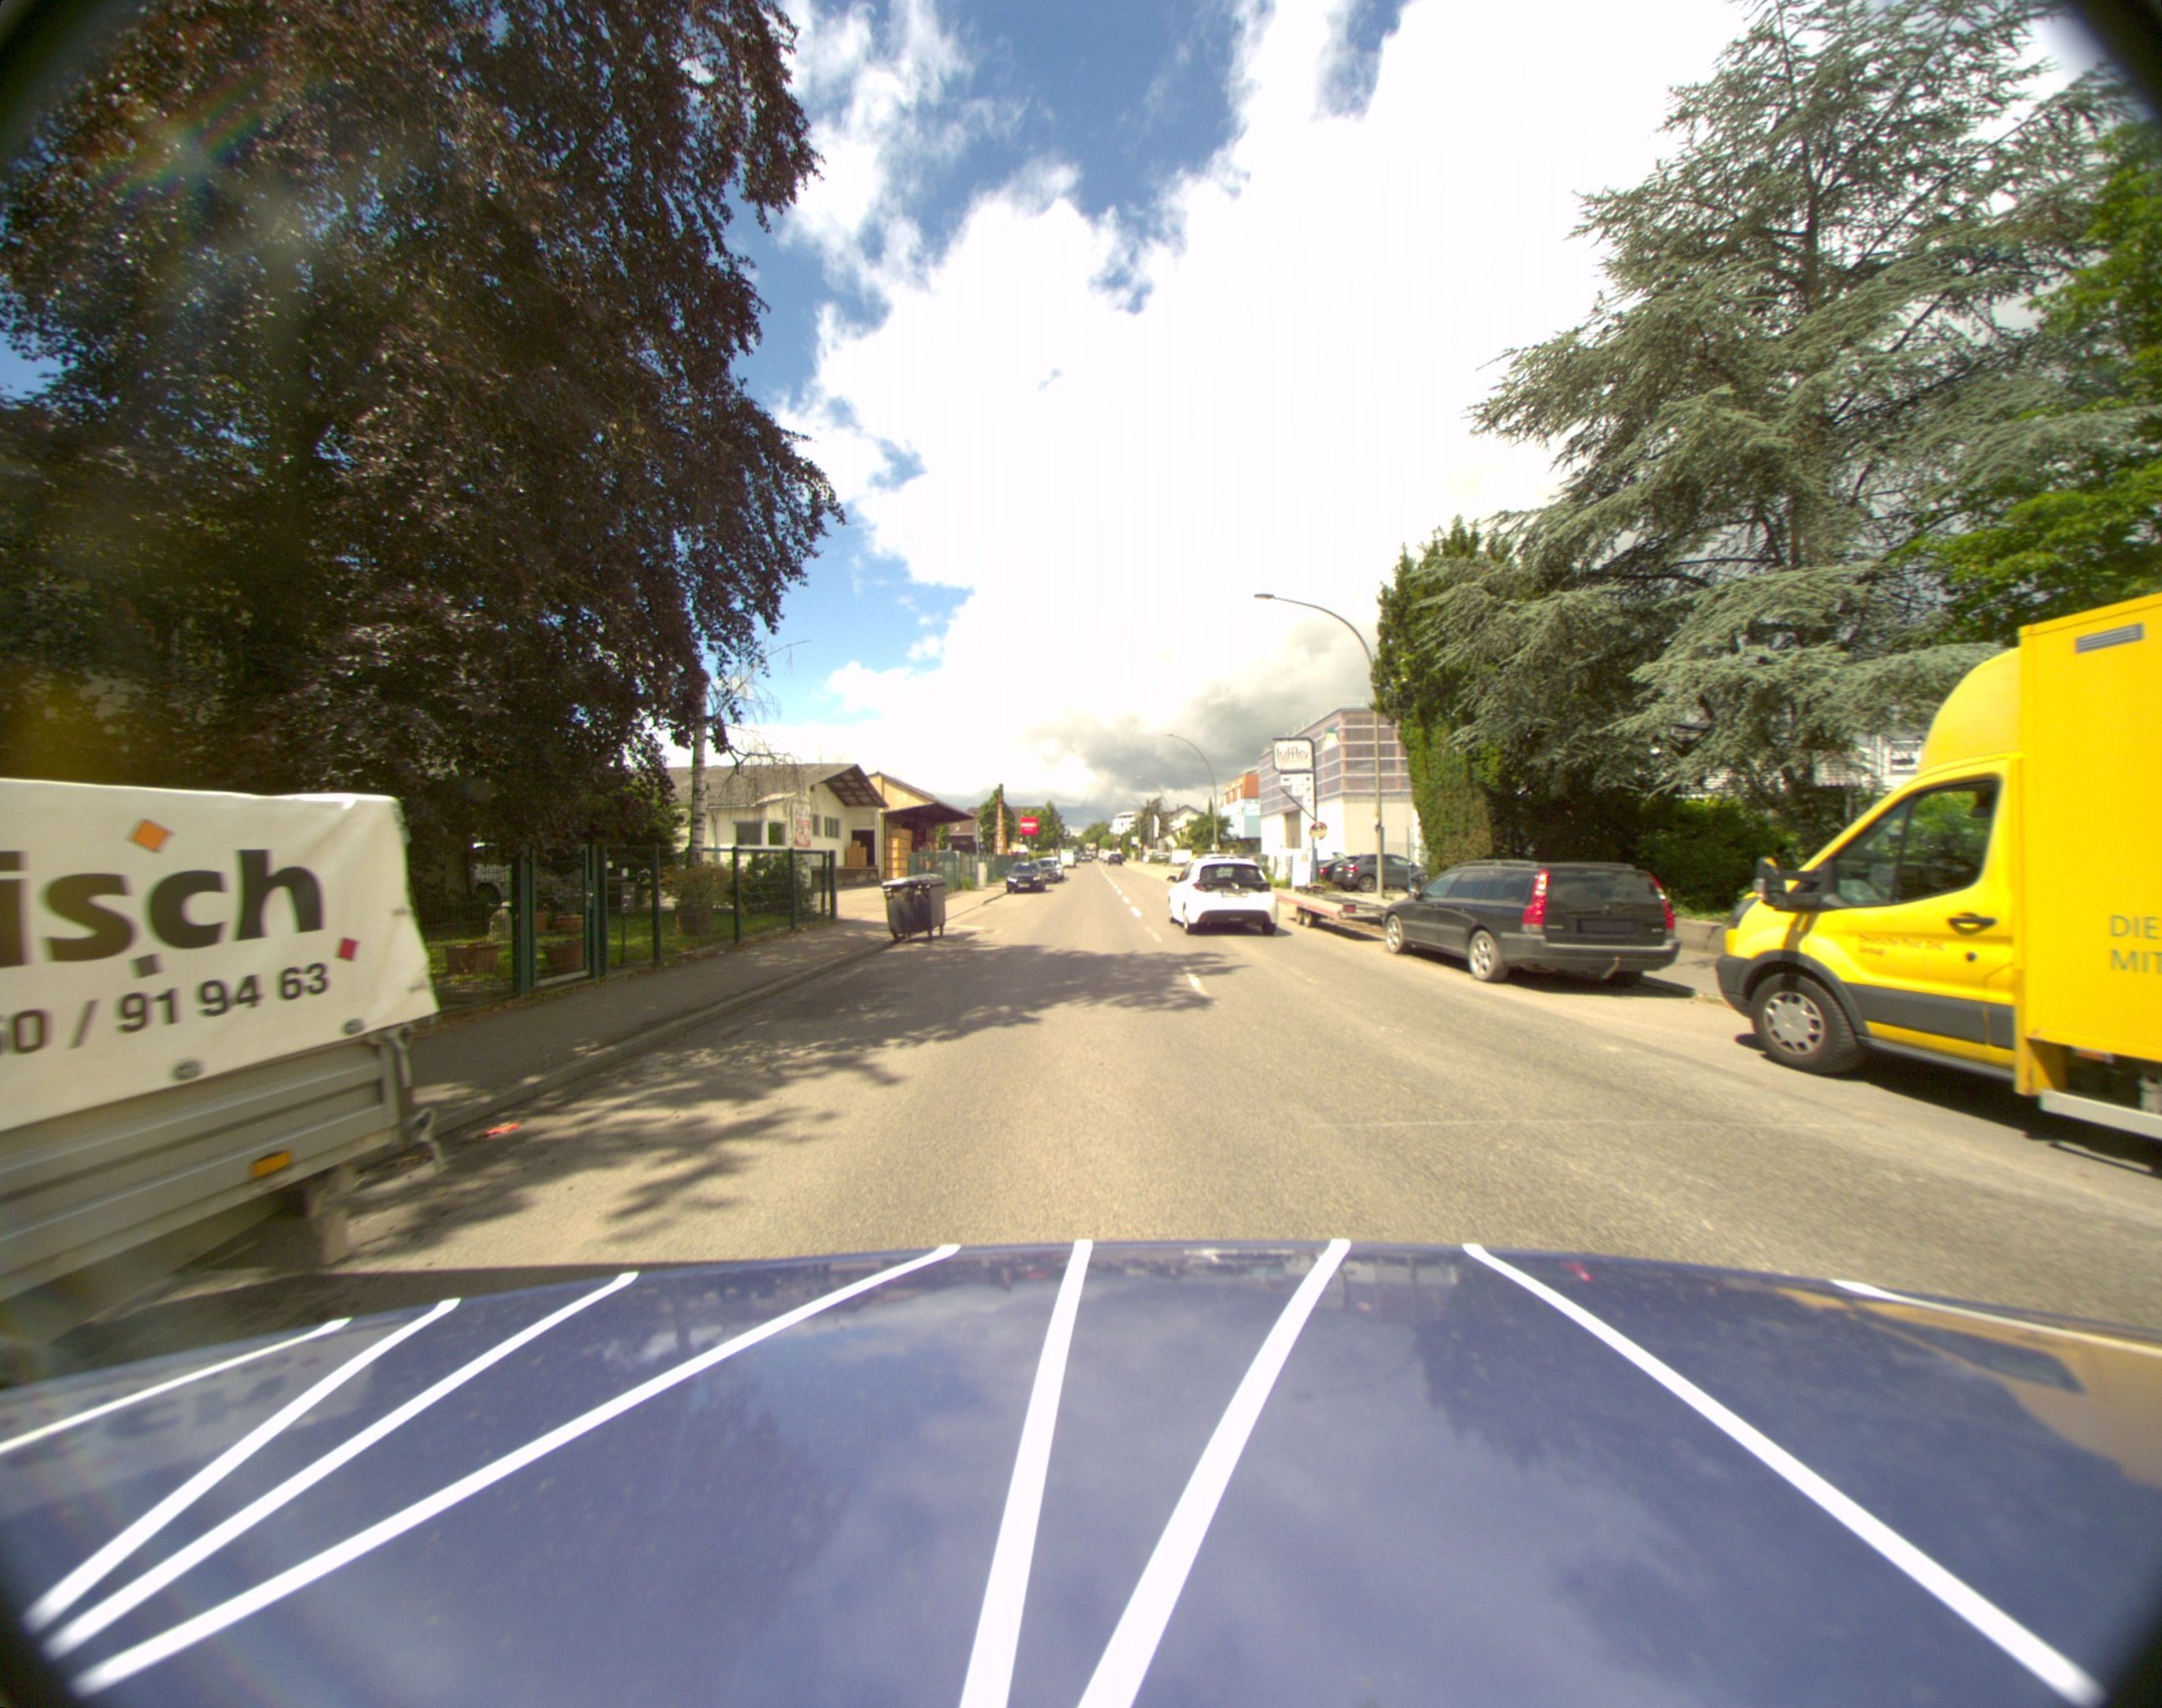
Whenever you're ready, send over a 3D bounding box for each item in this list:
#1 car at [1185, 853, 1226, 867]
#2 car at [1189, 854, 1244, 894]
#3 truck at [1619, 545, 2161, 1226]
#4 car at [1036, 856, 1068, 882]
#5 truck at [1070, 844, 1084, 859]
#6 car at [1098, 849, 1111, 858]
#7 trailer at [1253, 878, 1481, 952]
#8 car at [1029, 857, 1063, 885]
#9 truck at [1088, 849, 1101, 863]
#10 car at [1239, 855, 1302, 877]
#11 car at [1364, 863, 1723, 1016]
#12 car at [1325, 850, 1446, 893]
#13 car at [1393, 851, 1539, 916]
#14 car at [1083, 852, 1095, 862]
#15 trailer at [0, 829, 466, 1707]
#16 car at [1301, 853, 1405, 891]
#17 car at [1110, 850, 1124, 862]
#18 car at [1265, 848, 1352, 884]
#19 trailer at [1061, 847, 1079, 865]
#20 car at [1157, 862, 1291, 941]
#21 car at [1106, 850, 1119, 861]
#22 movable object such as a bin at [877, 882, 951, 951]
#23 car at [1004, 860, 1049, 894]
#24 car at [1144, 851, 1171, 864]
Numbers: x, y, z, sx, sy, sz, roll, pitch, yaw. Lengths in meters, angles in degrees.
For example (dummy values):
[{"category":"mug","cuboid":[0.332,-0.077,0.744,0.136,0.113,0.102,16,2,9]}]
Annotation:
[{"category":"car","cuboid":[13.263,0.593,81.058,4.046,1.485,1.675,0,0,0]},{"category":"car","cuboid":[6.139,0.854,34.745,1.809,1.666,4.128,1,0,1]},{"category":"truck","cuboid":[5.909,0.155,2.696,2.329,2.986,7.818,1,0,-1]},{"category":"car","cuboid":[-1.963,0.987,52.963,1.835,1.608,4.000,-4,0,2]},{"category":"truck","cuboid":[-0.788,-0.555,146.303,2.410,2.722,6.640,-3,1,1]},{"category":"car","cuboid":[4.857,-0.108,156.339,2.384,2.002,6.384,0,0,0]},{"category":"trailer","cuboid":[5.730,1.162,16.729,2.324,0.985,7.459,1,0,1]},{"category":"car","cuboid":[-2.184,1.039,48.175,1.811,1.566,4.188,-3,0,1]},{"category":"truck","cuboid":[3.299,0.468,189.205,2.880,3.290,8.607,-3,1,1]},{"category":"car","cuboid":[13.290,0.834,53.499,3.955,1.492,1.777,0,-1,-1]},{"category":"car","cuboid":[5.767,0.930,10.410,1.998,1.445,4.812,3,0,1]},{"category":"car","cuboid":[12.495,0.690,31.353,4.169,1.660,1.999,-1,0,-2]},{"category":"car","cuboid":[10.701,0.763,21.557,1.812,1.625,4.632,1,0,1]},{"category":"car","cuboid":[1.459,0.585,139.468,1.998,1.802,4.000,-1,0,1]},{"category":"trailer","cuboid":[-3.098,0.904,0.113,1.998,1.812,4.765,-3,0,1]},{"category":"car","cuboid":[12.340,0.799,34.660,3.998,1.660,2.103,0,0,-2]},{"category":"car","cuboid":[5.184,0.320,107.779,1.859,1.685,4.001,-1,0,4]},{"category":"car","cuboid":[11.952,0.632,40.151,3.997,1.866,2.000,0,0,1]},{"category":"trailer","cuboid":[-1.288,0.271,94.683,2.044,2.214,5.079,0,0,1]},{"category":"car","cuboid":[2.856,0.898,16.071,1.987,1.412,3.999,0,0,-2]},{"category":"car","cuboid":[5.284,0.291,128.240,1.999,1.852,3.835,0,0,-1]},{"category":"movable object such as a bin","cuboid":[-3.376,1.236,15.482,1.115,1.283,1.358,0,0,5]},{"category":"car","cuboid":[-2.548,1.060,36.338,1.759,1.455,4.000,-2,0,0]},{"category":"car","cuboid":[11.818,0.471,117.334,3.995,2.002,2.001,0,0,5]}]
